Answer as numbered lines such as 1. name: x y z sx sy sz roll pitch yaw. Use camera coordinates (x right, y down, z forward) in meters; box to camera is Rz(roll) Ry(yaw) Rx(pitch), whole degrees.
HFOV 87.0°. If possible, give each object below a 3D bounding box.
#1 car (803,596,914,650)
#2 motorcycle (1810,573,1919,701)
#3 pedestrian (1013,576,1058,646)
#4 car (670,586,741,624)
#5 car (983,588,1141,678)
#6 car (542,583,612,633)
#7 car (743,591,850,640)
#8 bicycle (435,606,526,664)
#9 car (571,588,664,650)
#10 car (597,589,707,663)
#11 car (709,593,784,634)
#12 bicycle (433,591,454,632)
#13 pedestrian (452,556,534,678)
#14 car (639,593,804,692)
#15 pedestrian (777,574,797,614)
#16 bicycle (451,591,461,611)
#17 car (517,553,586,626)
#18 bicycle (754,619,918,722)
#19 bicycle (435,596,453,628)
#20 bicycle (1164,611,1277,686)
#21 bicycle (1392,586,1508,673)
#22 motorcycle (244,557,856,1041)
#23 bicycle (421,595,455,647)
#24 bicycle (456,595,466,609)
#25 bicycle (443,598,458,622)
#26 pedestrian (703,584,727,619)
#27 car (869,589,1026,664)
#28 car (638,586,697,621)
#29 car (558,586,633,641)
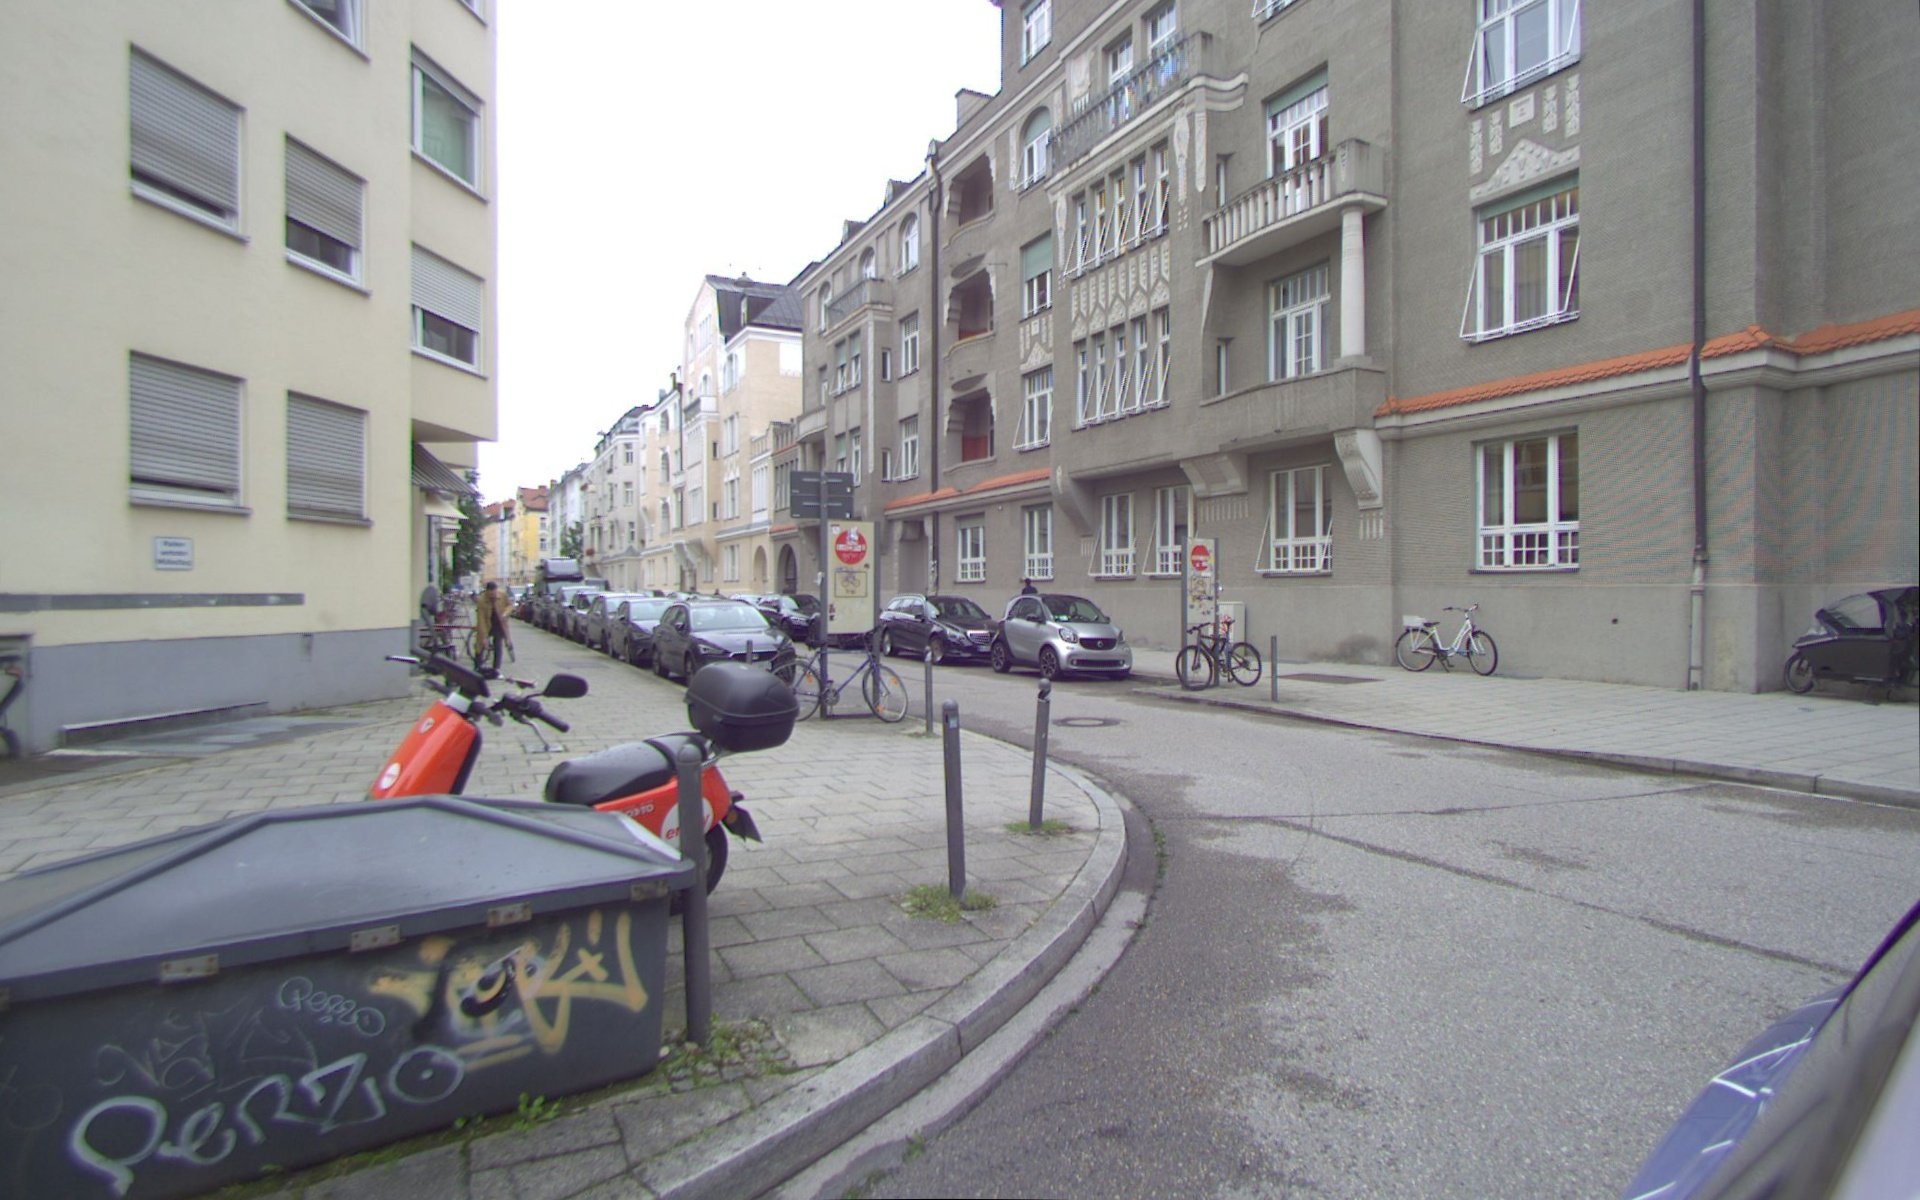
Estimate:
1. car: -2.882 0.583 27.974 1.725 1.348 4.103 0 1 -26
2. motorcycle: 11.300 0.416 11.697 0.723 1.459 2.149 -1 1 -28
3. pedestrian: 1.997 0.278 26.788 0.824 1.809 0.937 -1 0 -24
4. car: -11.021 0.162 43.613 1.806 1.532 4.613 -1 1 -29
5. car: 1.841 0.553 19.012 1.674 1.534 2.915 0 0 -26
6. car: -14.441 0.250 38.039 1.959 1.710 4.681 -2 1 -26
7. car: -5.384 0.436 32.836 1.960 1.466 4.785 0 1 -29
8. bicycle: -9.369 0.660 19.842 0.741 1.045 1.795 1 0 8
9. car: -9.435 0.460 27.704 1.607 1.556 3.858 -1 1 -31
10. car: -7.061 0.517 22.948 1.606 1.490 3.860 -1 1 -29
11. car: -8.279 0.482 38.956 1.774 1.449 4.446 1 0 -26
12. bicycle: -15.193 0.321 29.741 0.473 1.165 1.790 -1 1 -29
13. pedestrian: -7.395 0.278 16.036 1.011 1.872 0.731 -1 -4 39
14. car: -4.373 0.631 18.035 1.664 1.490 4.616 -1 1 -29
15. pedestrian: -8.187 -0.280 47.822 0.704 1.840 0.731 -1 0 -28
16. bicycle: -29.857 0.057 59.953 0.484 1.131 1.970 -1 1 -27
17. car: -18.223 -0.543 44.950 2.216 2.996 6.142 -2 2 -27
18. bicycle: -1.370 0.777 11.405 1.763 1.099 0.666 1 -2 0
19. bicycle: -19.200 0.437 37.626 0.473 1.165 1.790 3 -1 -29
20. bicycle: 4.008 0.722 15.530 1.772 1.027 0.541 -2 1 -28
21. bicycle: 8.121 0.457 16.844 0.608 1.366 1.676 -1 1 -31
22. motorcycle: -1.432 0.582 3.939 0.813 1.373 2.054 0 -1 39
23. bicycle: -12.661 0.497 24.509 0.553 1.208 1.678 3 -1 -32
24. bicycle: -35.421 0.127 71.825 0.530 0.970 1.820 -1 1 -29
25. bicycle: -26.026 0.496 51.696 0.630 1.131 1.971 -1 1 -27
26. pedestrian: -12.365 0.080 51.053 0.976 1.750 0.941 -1 0 -28
27. car: -0.423 0.514 23.124 1.725 1.534 4.715 0 0 -26
28. car: -14.083 0.123 48.606 1.773 1.592 3.817 -1 1 -31
29. car: -11.713 0.384 32.399 1.606 1.612 3.973 -1 1 -29
